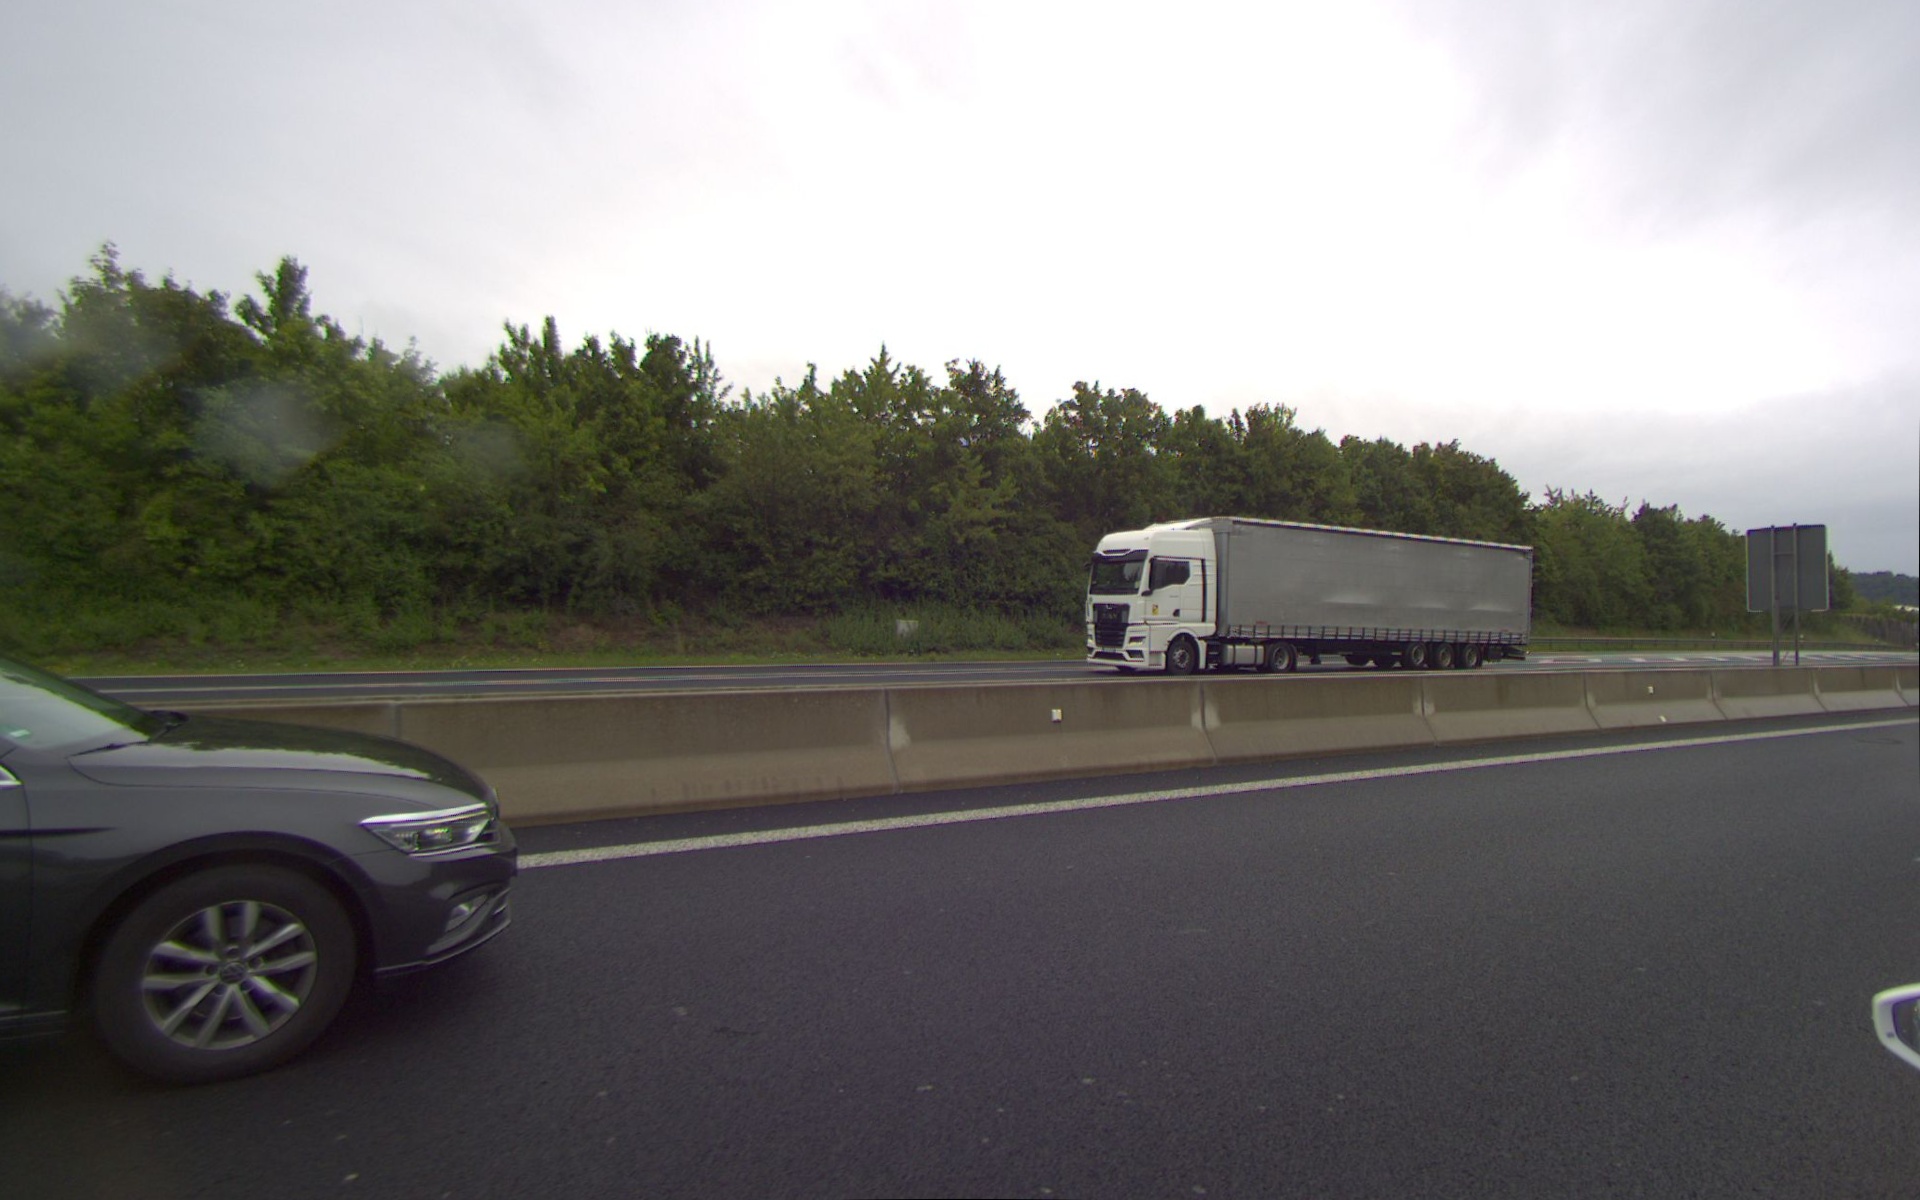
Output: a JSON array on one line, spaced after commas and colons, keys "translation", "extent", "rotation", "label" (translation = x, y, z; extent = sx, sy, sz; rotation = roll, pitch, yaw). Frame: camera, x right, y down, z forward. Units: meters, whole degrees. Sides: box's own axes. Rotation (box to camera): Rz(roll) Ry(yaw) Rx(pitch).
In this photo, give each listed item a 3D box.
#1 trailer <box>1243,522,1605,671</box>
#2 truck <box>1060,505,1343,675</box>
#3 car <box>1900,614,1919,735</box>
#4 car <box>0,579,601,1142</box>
[{"translation": [15.428, 0.040, 32.631], "extent": [13.675, 4.138, 3.246], "rotation": [1, -1, -29], "label": "trailer"}, {"translation": [6.716, -0.157, 27.749], "extent": [7.350, 4.138, 3.246], "rotation": [1, -1, -29], "label": "truck"}, {"translation": [15.479, 1.078, 14.272], "extent": [4.449, 1.661, 1.966], "rotation": [2, -1, -31], "label": "car"}, {"translation": [-3.787, 0.690, 3.092], "extent": [4.795, 1.517, 1.891], "rotation": [1, -1, -31], "label": "car"}]
